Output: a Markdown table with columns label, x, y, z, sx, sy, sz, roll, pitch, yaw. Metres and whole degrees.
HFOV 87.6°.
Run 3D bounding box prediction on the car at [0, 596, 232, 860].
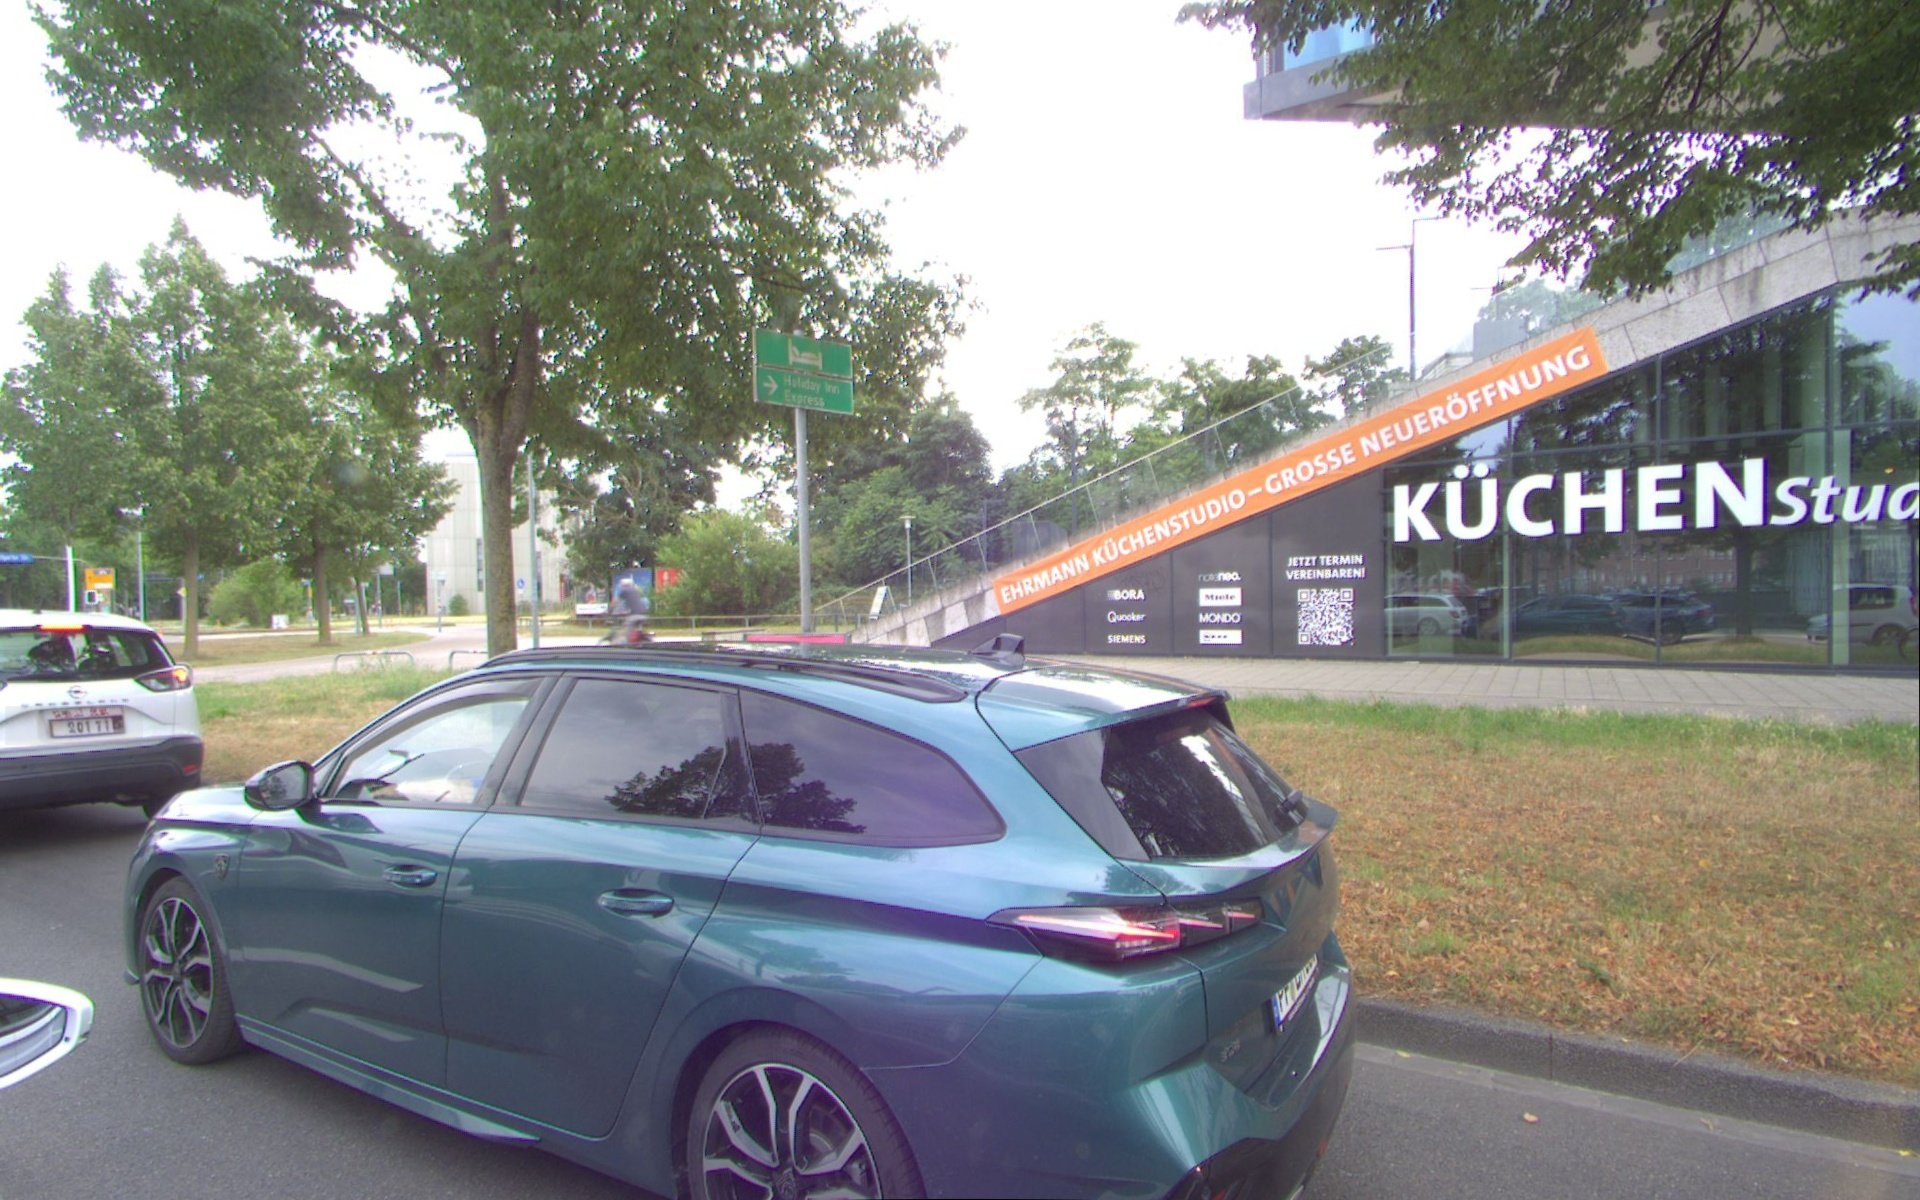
| label | x | y | z | sx | sy | sz | roll | pitch | yaw |
| --- | --- | --- | --- | --- | --- | --- | --- | --- | --- |
| car | -7.416 | 0.809 | 7.590 | 3.854 | 1.646 | 1.783 | 0 | 0 | 33 |

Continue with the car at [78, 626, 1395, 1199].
| label | x | y | z | sx | sy | sz | roll | pitch | yaw |
| --- | --- | --- | --- | --- | --- | --- | --- | --- | --- |
| car | -0.919 | 0.832 | 3.380 | 4.245 | 1.450 | 1.786 | 0 | -1 | 29 |

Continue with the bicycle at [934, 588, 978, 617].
| label | x | y | z | sx | sy | sz | roll | pitch | yaw |
| --- | --- | --- | --- | --- | --- | --- | --- | --- | --- |
| bicycle | -0.163 | 0.103 | 37.049 | 0.557 | 0.997 | 1.926 | -4 | 1 | -36 |

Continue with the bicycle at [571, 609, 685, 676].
| label | x | y | z | sx | sy | sz | roll | pitch | yaw |
| --- | --- | --- | --- | --- | --- | --- | --- | --- | --- |
| bicycle | -6.572 | 0.803 | 19.786 | 2.234 | 1.251 | 0.900 | 0 | 0 | 31 |

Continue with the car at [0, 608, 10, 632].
| label | x | y | z | sx | sy | sz | roll | pitch | yaw |
| --- | --- | --- | --- | --- | --- | --- | --- | --- | --- |
| car | -75.512 | 1.540 | 77.562 | 1.973 | 1.813 | 3.978 | 2 | -3 | -32 |

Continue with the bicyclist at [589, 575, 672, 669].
| label | x | y | z | sx | sy | sz | roll | pitch | yaw |
| --- | --- | --- | --- | --- | --- | --- | --- | --- | --- |
| bicyclist | -6.460 | 0.412 | 19.672 | 1.113 | 1.761 | 0.994 | 0 | 3 | 31 |

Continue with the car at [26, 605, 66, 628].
| label | x | y | z | sx | sy | sz | roll | pitch | yaw |
| --- | --- | --- | --- | --- | --- | --- | --- | --- | --- |
| car | -67.803 | 1.178 | 74.270 | 4.352 | 1.658 | 1.774 | 0 | 0 | 42 |
